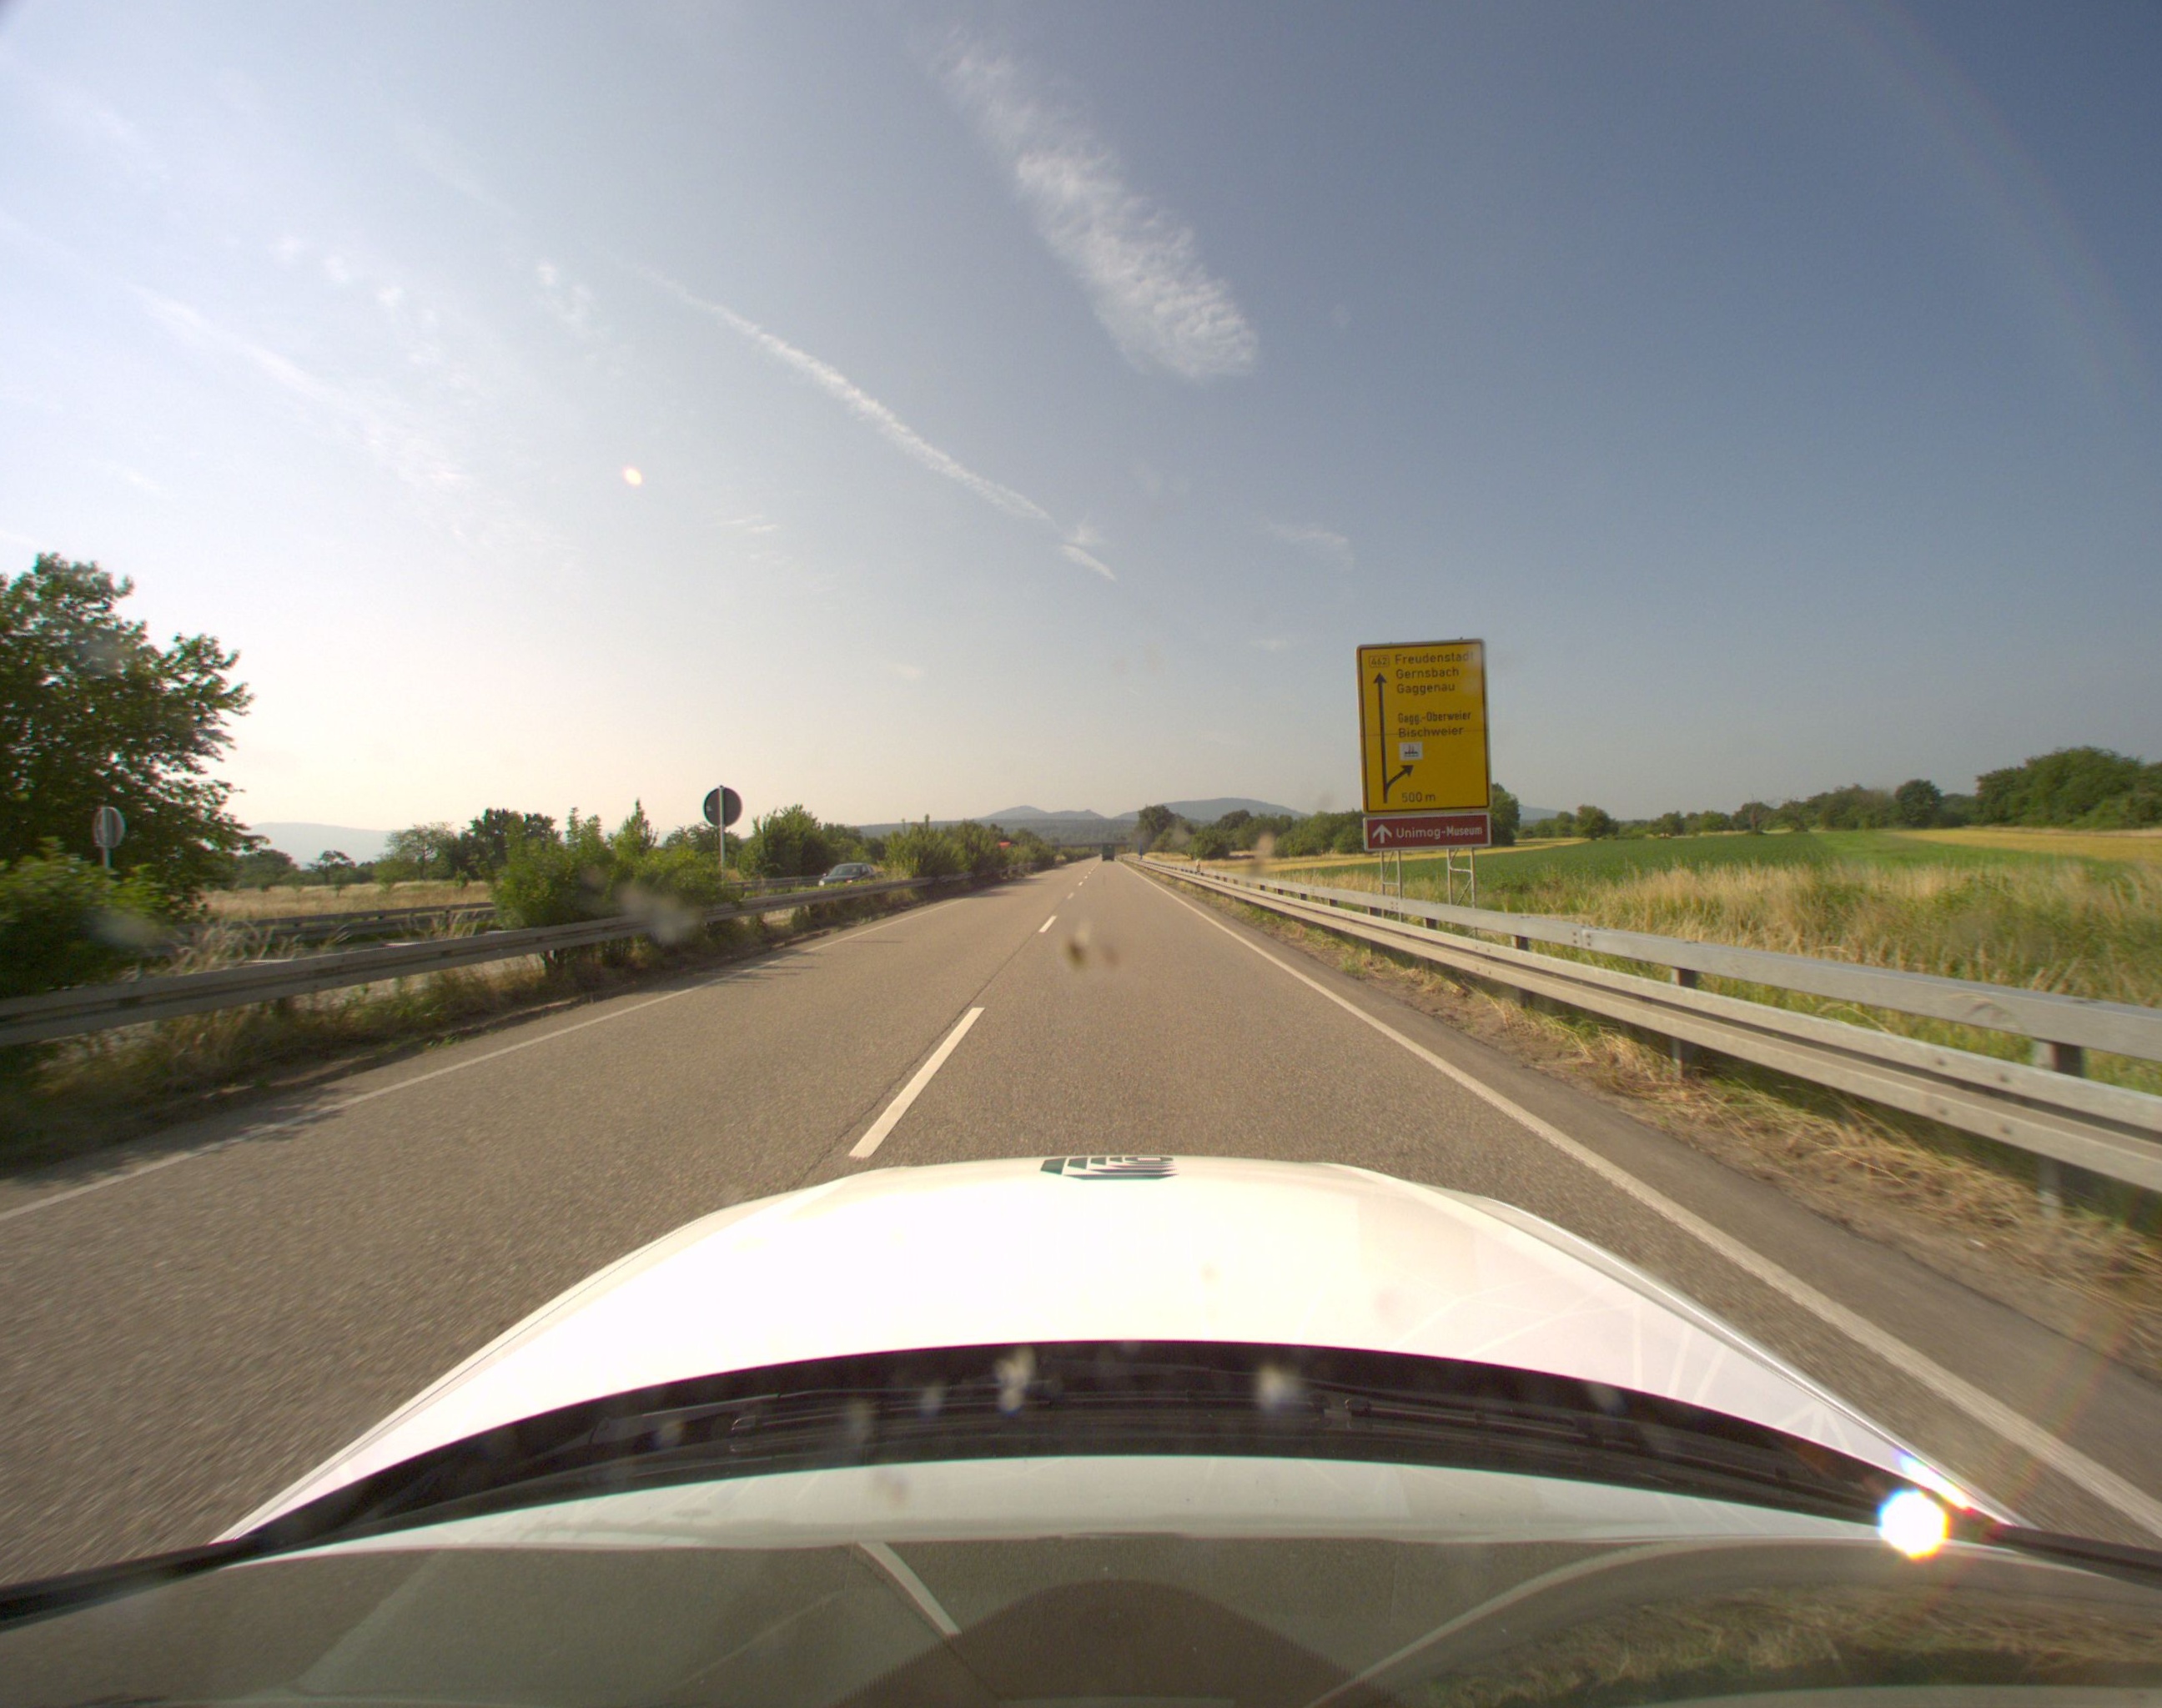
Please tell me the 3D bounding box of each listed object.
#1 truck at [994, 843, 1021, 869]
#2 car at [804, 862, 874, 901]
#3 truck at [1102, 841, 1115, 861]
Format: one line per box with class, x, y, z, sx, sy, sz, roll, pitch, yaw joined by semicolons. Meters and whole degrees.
truck;-10.777;0.348;120.643;2.593;3.589;10.389;-1;0;2
car;-10.000;1.093;33.986;1.552;1.431;4.038;-2;0;2
truck;5.685;-0.607;168.066;2.711;3.965;10.422;0;1;2
